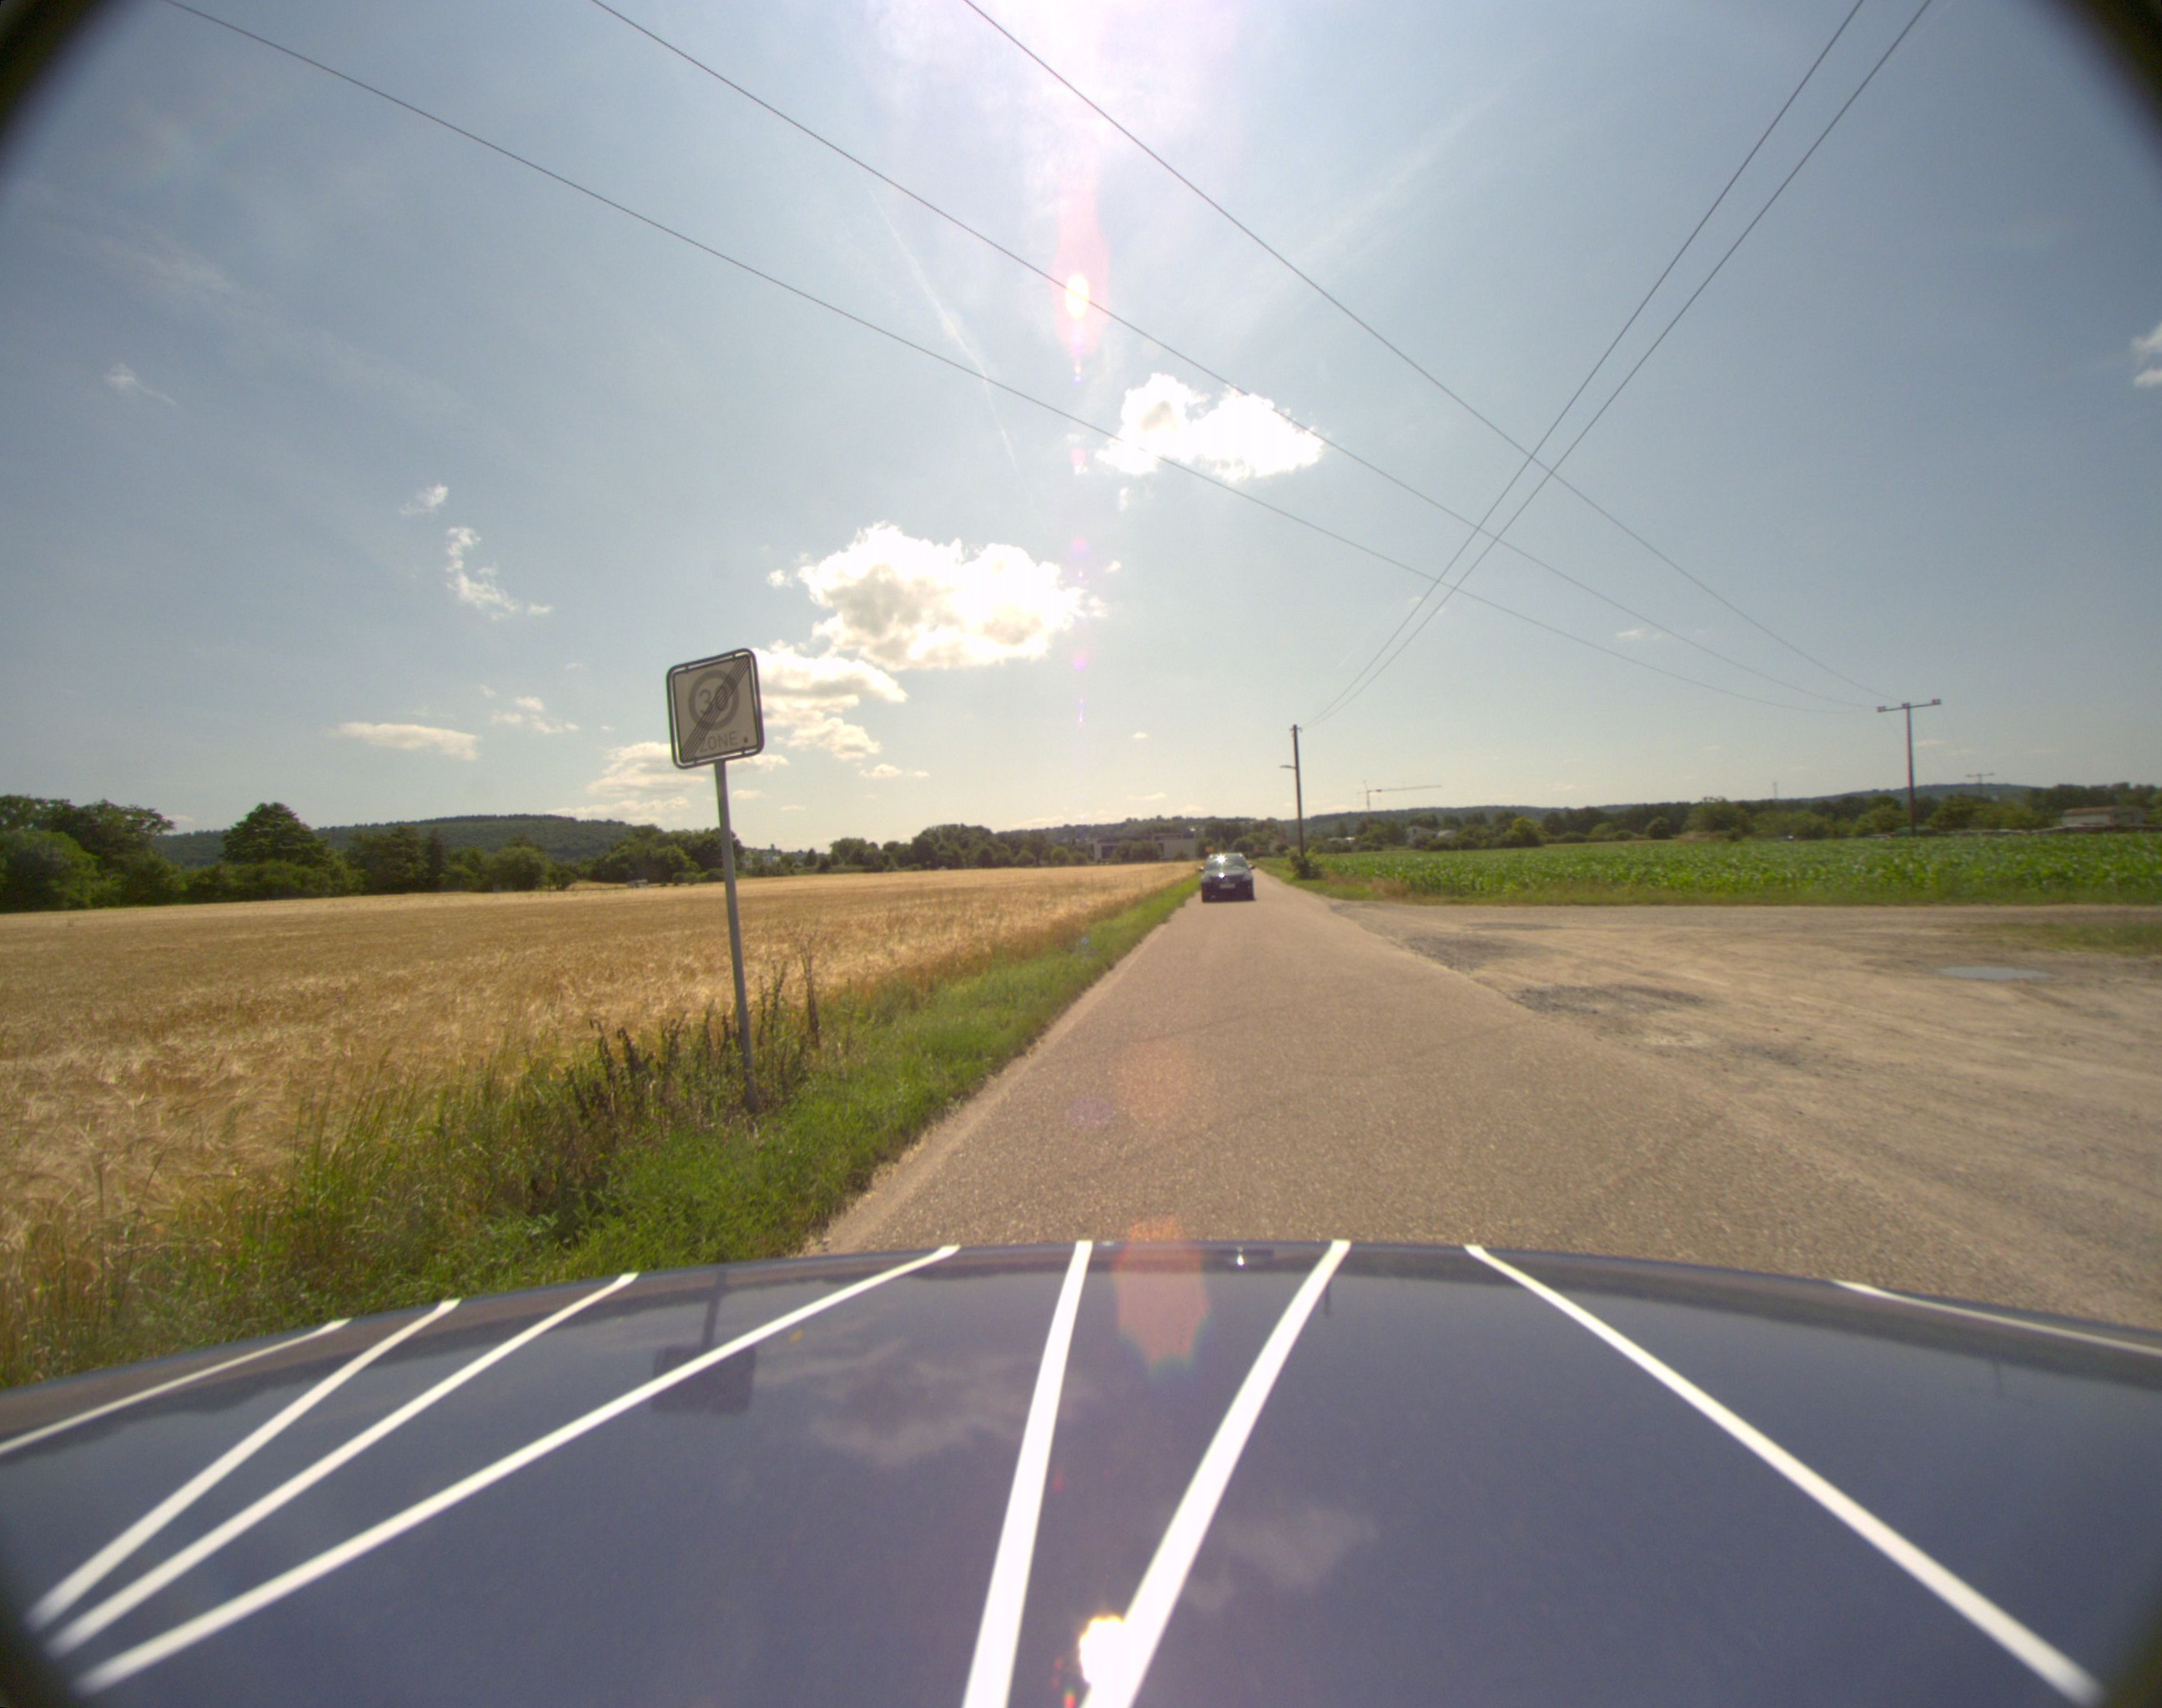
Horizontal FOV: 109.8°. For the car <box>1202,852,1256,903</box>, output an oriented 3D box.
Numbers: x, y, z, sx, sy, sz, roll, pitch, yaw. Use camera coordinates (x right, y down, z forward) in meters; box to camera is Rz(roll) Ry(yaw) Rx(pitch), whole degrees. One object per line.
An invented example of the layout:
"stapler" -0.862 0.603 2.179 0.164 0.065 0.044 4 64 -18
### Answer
"car" 5.362 0.802 27.458 1.747 1.669 4.259 -1 0 11
